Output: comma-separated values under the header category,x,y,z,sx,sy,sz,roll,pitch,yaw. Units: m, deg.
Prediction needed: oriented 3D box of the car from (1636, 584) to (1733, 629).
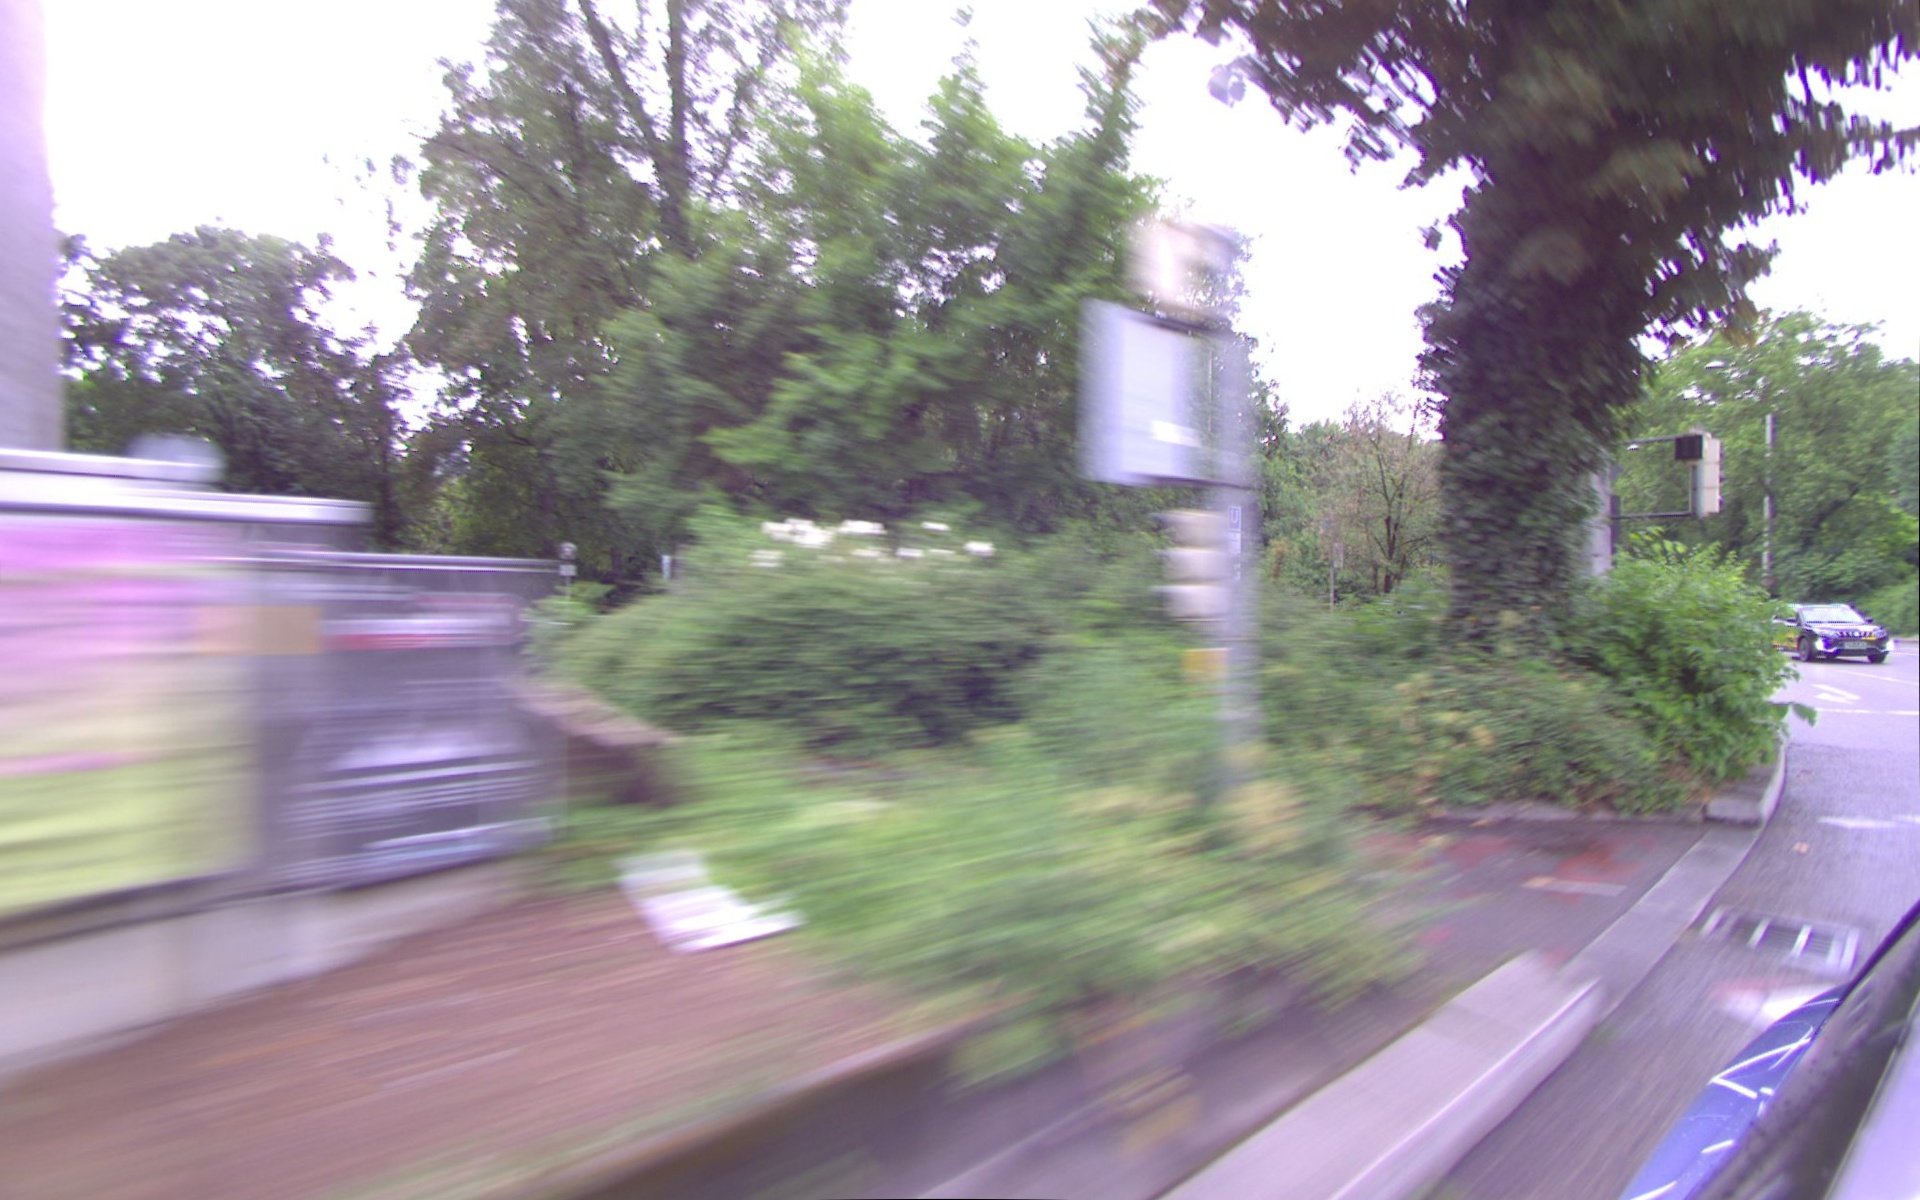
category,x,y,z,sx,sy,sz,roll,pitch,yaw
car,31.154,0.239,43.711,1.973,1.766,4.631,1,2,17

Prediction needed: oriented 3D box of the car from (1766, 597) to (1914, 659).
category,x,y,z,sx,sy,sz,roll,pitch,yaw
car,24.677,0.719,28.561,1.909,1.560,3.972,0,1,21
